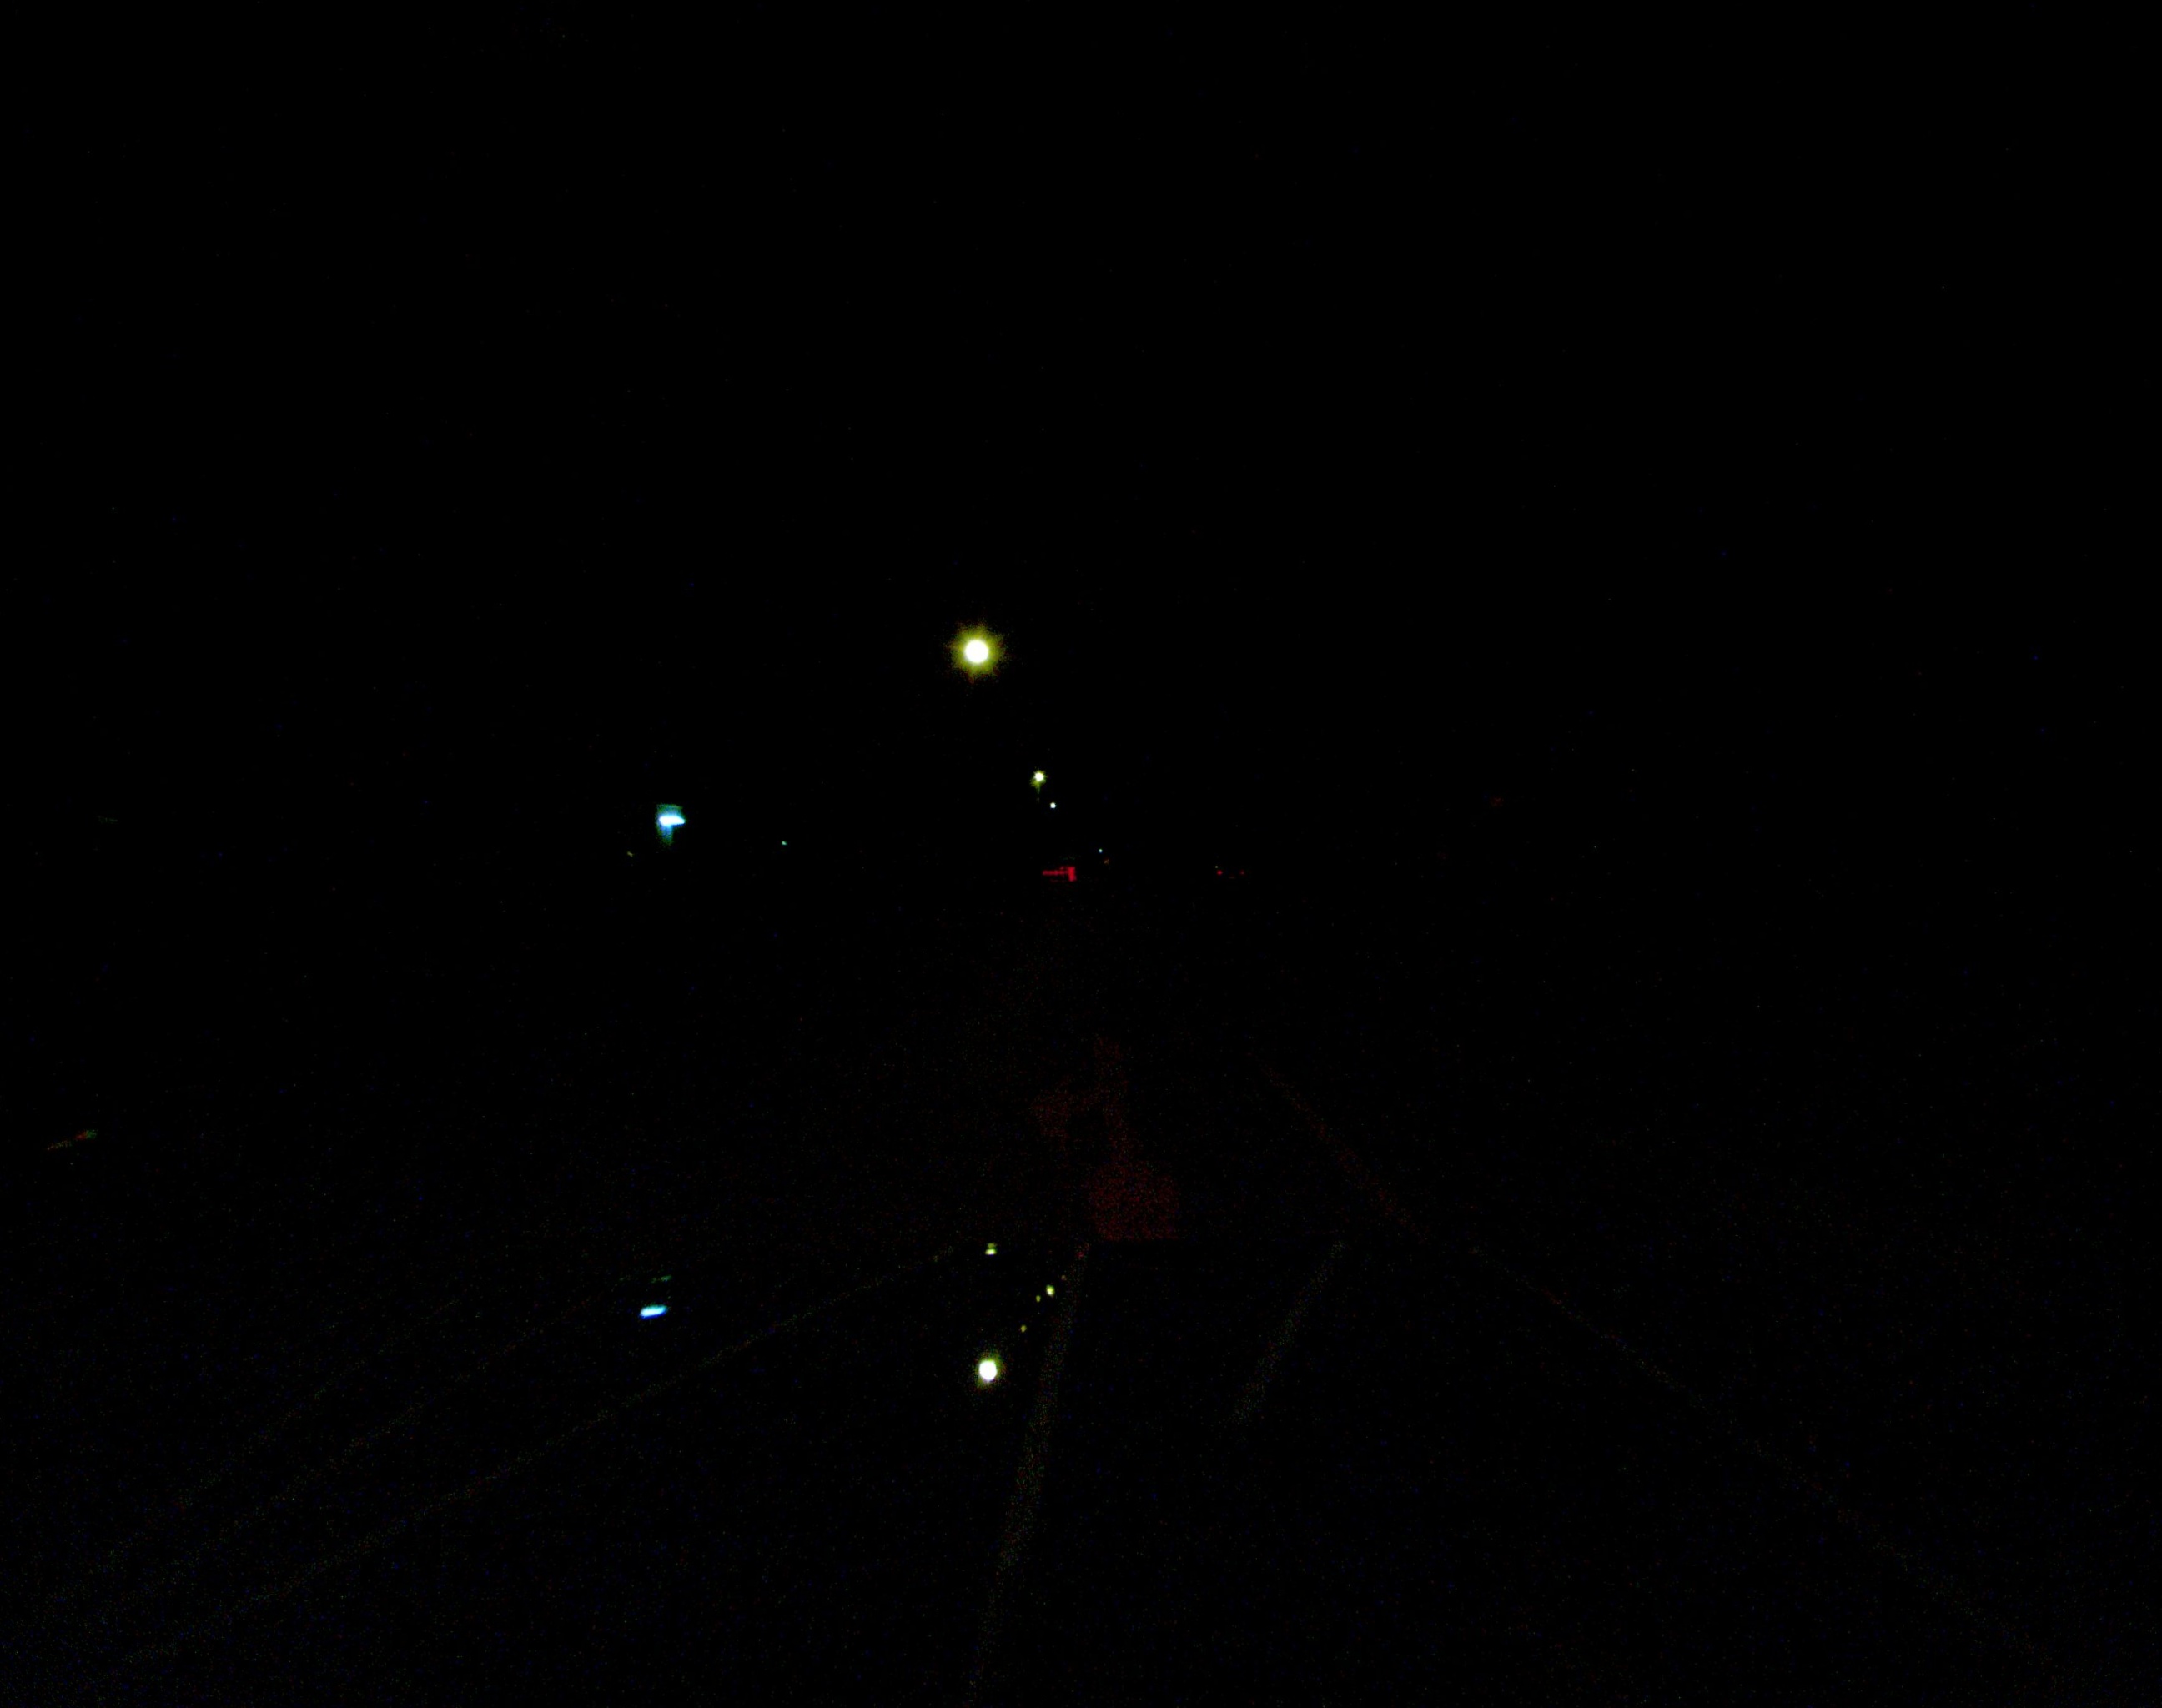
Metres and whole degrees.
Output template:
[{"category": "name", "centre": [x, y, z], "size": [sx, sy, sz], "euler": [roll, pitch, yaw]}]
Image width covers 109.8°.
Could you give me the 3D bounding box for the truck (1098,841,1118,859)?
[{"category": "truck", "centre": [5.077, -0.764, 144.840], "size": [2.381, 3.224, 7.226], "euler": [-1, 0, -9]}]

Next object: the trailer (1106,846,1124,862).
[{"category": "trailer", "centre": [6.165, 0.025, 136.886], "size": [2.212, 2.779, 4.612], "euler": [-1, 0, -11]}]

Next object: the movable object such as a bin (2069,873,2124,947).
[{"category": "movable object such as a bin", "centre": [18.500, 1.004, 13.850], "size": [0.622, 1.299, 0.567], "euler": [1, 1, -37]}]

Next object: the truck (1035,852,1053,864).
[{"category": "truck", "centre": [-9.154, 0.985, 187.539], "size": [2.002, 2.767, 7.230], "euler": [-1, 0, -23]}]

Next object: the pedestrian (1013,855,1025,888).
[{"category": "pedestrian", "centre": [-3.513, 0.999, 43.098], "size": [0.571, 1.842, 0.820], "euler": [-1, 0, 1]}]

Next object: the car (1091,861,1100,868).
[{"category": "car", "centre": [3.400, 2.460, 182.671], "size": [1.862, 1.630, 3.999], "euler": [0, 0, -2]}]

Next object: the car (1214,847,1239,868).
[{"category": "car", "centre": [16.049, 0.377, 83.859], "size": [2.212, 2.308, 4.625], "euler": [0, 0, 4]}]

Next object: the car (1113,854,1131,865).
[{"category": "car", "centre": [6.856, 0.915, 126.891], "size": [2.000, 1.761, 4.688], "euler": [-1, 0, -10]}]

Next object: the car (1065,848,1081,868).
[{"category": "car", "centre": [-1.040, 0.570, 102.352], "size": [2.026, 2.512, 6.051], "euler": [-2, 0, 0]}]

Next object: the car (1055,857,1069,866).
[{"category": "car", "centre": [-3.234, 1.314, 129.111], "size": [1.716, 1.499, 3.996], "euler": [-2, 0, -11]}]

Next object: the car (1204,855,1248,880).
[{"category": "car", "centre": [8.664, 0.790, 45.632], "size": [1.916, 1.395, 4.338], "euler": [0, 0, 1]}]

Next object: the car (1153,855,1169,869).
[{"category": "car", "centre": [8.952, 0.877, 85.305], "size": [1.759, 1.517, 4.324], "euler": [-1, 0, 5]}]

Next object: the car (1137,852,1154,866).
[{"category": "car", "centre": [8.800, 0.646, 103.920], "size": [1.834, 1.806, 4.838], "euler": [0, 0, -1]}]

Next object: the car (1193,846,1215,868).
[{"category": "car", "centre": [13.413, 0.372, 83.166], "size": [1.998, 2.308, 4.968], "euler": [1, 0, 4]}]

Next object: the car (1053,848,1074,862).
[{"category": "car", "centre": [-4.019, 0.202, 173.489], "size": [2.392, 3.224, 7.218], "euler": [-1, 0, -23]}]

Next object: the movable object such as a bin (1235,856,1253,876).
[{"category": "movable object such as a bin", "centre": [12.528, 0.899, 58.431], "size": [1.167, 1.487, 1.065], "euler": [-1, 0, -2]}]

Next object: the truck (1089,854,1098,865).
[{"category": "truck", "centre": [3.037, 1.360, 191.270], "size": [2.138, 2.597, 7.098], "euler": [0, 0, -1]}]

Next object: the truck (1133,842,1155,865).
[{"category": "truck", "centre": [9.104, -0.089, 110.790], "size": [2.550, 3.261, 7.311], "euler": [-1, 0, -1]}]
